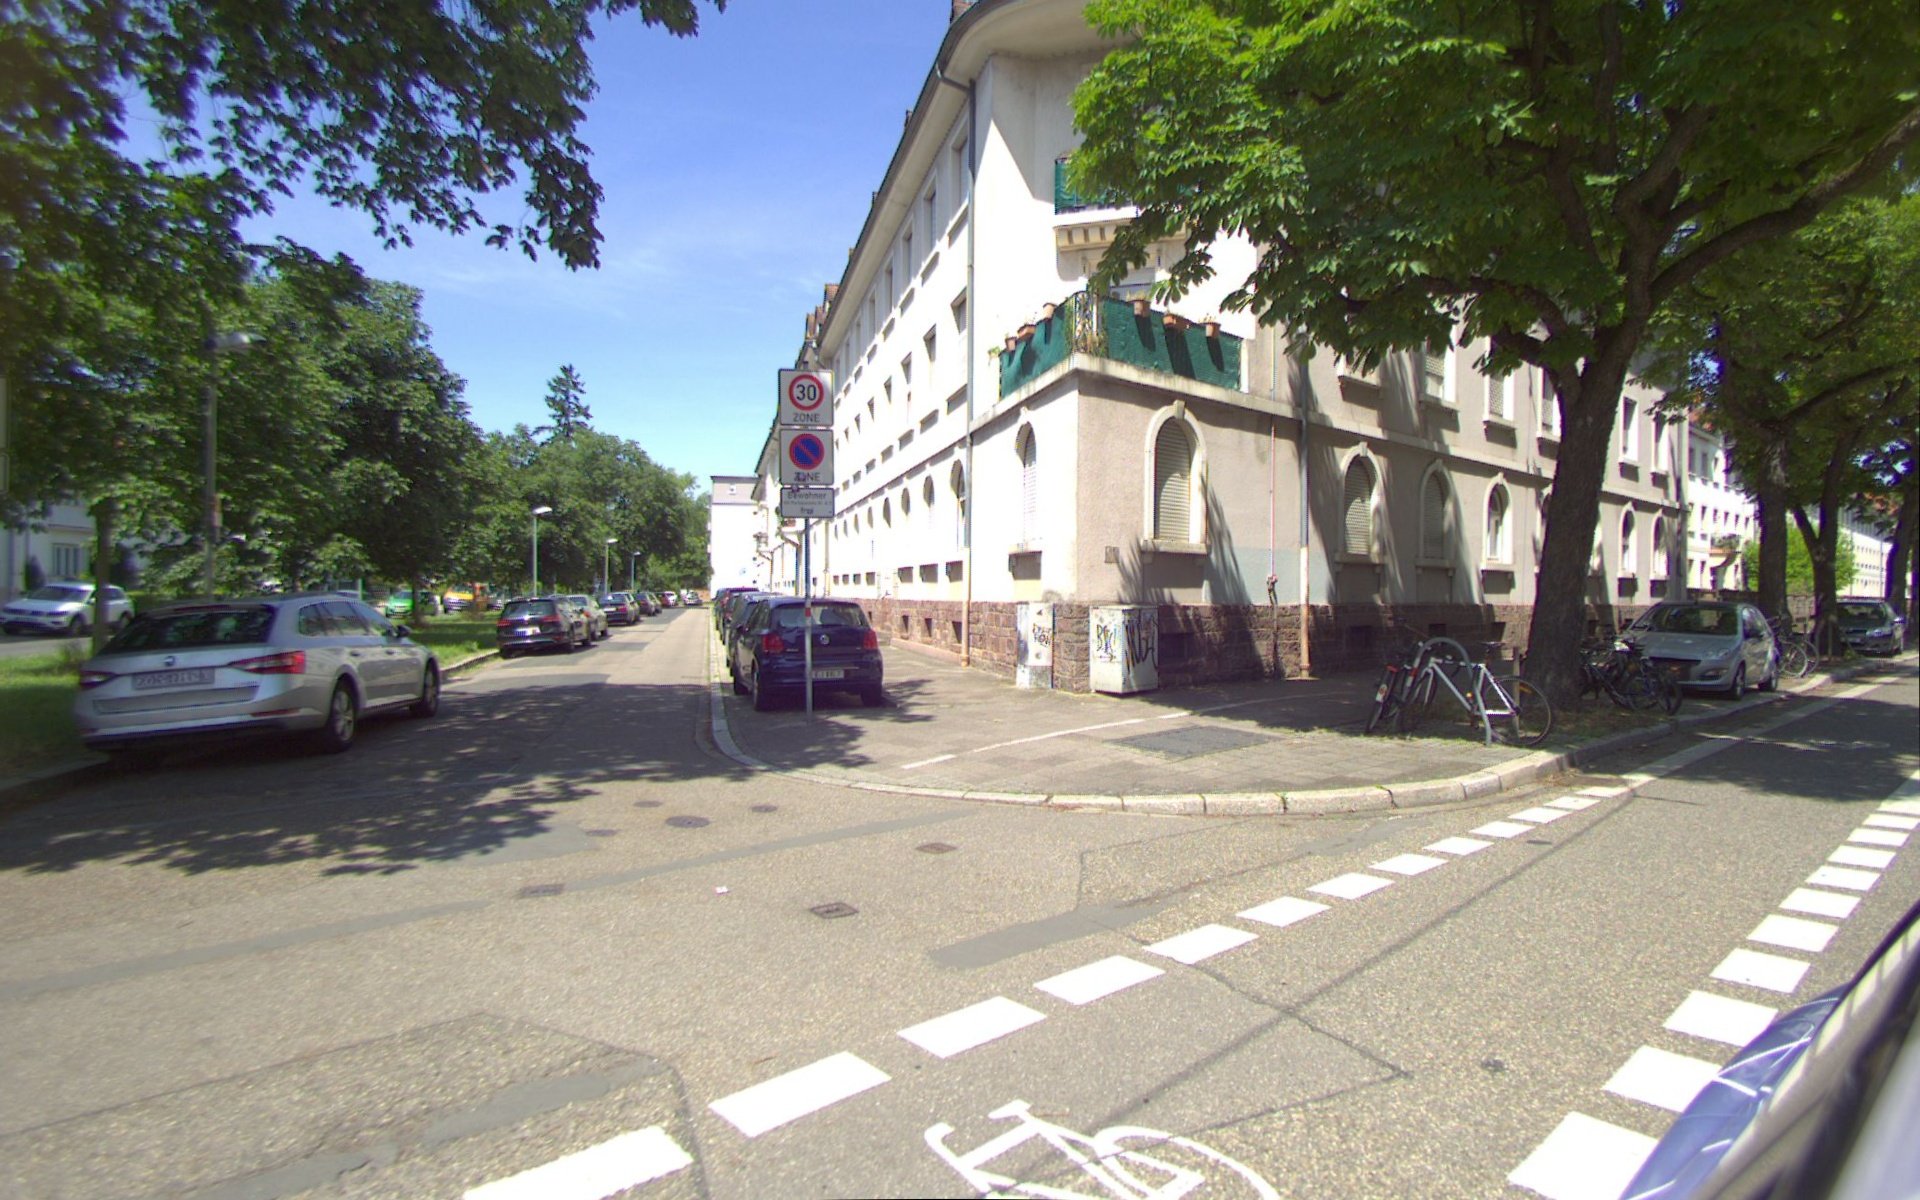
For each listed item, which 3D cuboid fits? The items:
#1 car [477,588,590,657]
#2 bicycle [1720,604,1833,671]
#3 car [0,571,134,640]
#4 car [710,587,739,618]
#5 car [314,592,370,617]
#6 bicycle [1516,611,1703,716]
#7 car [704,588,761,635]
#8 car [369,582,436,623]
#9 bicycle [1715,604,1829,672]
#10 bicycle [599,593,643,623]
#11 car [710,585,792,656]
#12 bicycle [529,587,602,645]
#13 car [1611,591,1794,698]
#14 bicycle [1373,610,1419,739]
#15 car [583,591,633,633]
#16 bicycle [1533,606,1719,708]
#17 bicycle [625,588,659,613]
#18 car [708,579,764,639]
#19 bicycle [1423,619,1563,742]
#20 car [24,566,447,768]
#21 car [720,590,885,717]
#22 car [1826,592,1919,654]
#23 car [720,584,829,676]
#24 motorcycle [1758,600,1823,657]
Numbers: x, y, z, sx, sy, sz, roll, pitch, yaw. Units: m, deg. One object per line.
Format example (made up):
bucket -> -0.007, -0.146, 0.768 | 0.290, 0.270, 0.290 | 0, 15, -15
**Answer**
car -> -10.836, 0.517, 25.994 | 1.958, 1.602, 4.007 | -1, 0, -12
bicycle -> 15.352, 0.679, 19.062 | 0.299, 1.215, 1.622 | -1, 0, -39
car -> -28.521, 0.158, 32.249 | 1.604, 2.039, 4.339 | 1, 0, -12
car -> -15.012, 0.122, 64.657 | 1.552, 1.900, 4.007 | -1, 0, -10
car -> -34.967, 0.241, 57.332 | 1.750, 1.416, 3.906 | 0, 0, -16
bicycle -> 8.280, 0.769, 13.012 | 0.436, 1.215, 2.042 | -1, 0, -31
car -> -8.671, 0.396, 38.332 | 1.796, 1.678, 4.008 | -1, 0, -17
car -> -28.659, 0.101, 52.188 | 1.958, 2.039, 4.008 | -1, 0, -13
bicycle -> 15.086, 0.679, 18.838 | 0.299, 1.215, 1.622 | -1, 0, -39
bicycle -> -16.408, 0.364, 49.126 | 1.542, 1.411, 3.750 | 0, 0, -11
car -> -5.309, 0.450, 25.417 | 1.830, 1.599, 4.008 | -1, 0, -14
bicycle -> -12.229, 0.441, 31.570 | 1.800, 1.666, 4.008 | -1, 0, -17
car -> 11.851, 0.630, 16.084 | 3.568, 1.470, 1.595 | 0, 1, -41
bicycle -> 4.615, 0.738, 10.684 | 0.281, 1.215, 1.612 | -1, 0, 29
car -> -15.333, 0.494, 44.205 | 1.728, 1.702, 3.905 | -1, 0, -14
bicycle -> 8.684, 0.697, 13.305 | 0.436, 1.215, 2.042 | -1, 0, -31
bicycle -> -21.574, 0.030, 68.813 | 1.746, 1.610, 4.007 | -1, 0, -11
car -> -7.214, 0.253, 32.324 | 1.618, 1.751, 4.008 | -1, 0, -14
bicycle -> 5.075, 0.738, 9.682 | 0.274, 1.077, 1.170 | -1, 1, -38
car -> -6.786, 0.555, 10.215 | 1.837, 1.535, 4.684 | 0, -1, -14
car -> -2.334, 0.615, 14.157 | 1.611, 1.465, 3.892 | -1, 1, -19
car -> 25.305, 0.579, 27.978 | 3.931, 1.564, 1.538 | -1, 0, -42
car -> -3.759, 0.515, 19.996 | 1.783, 1.521, 4.008 | -3, 1, -14
motorcycle -> 18.744, 0.616, 22.827 | 2.178, 1.212, 0.623 | -1, 0, -37
